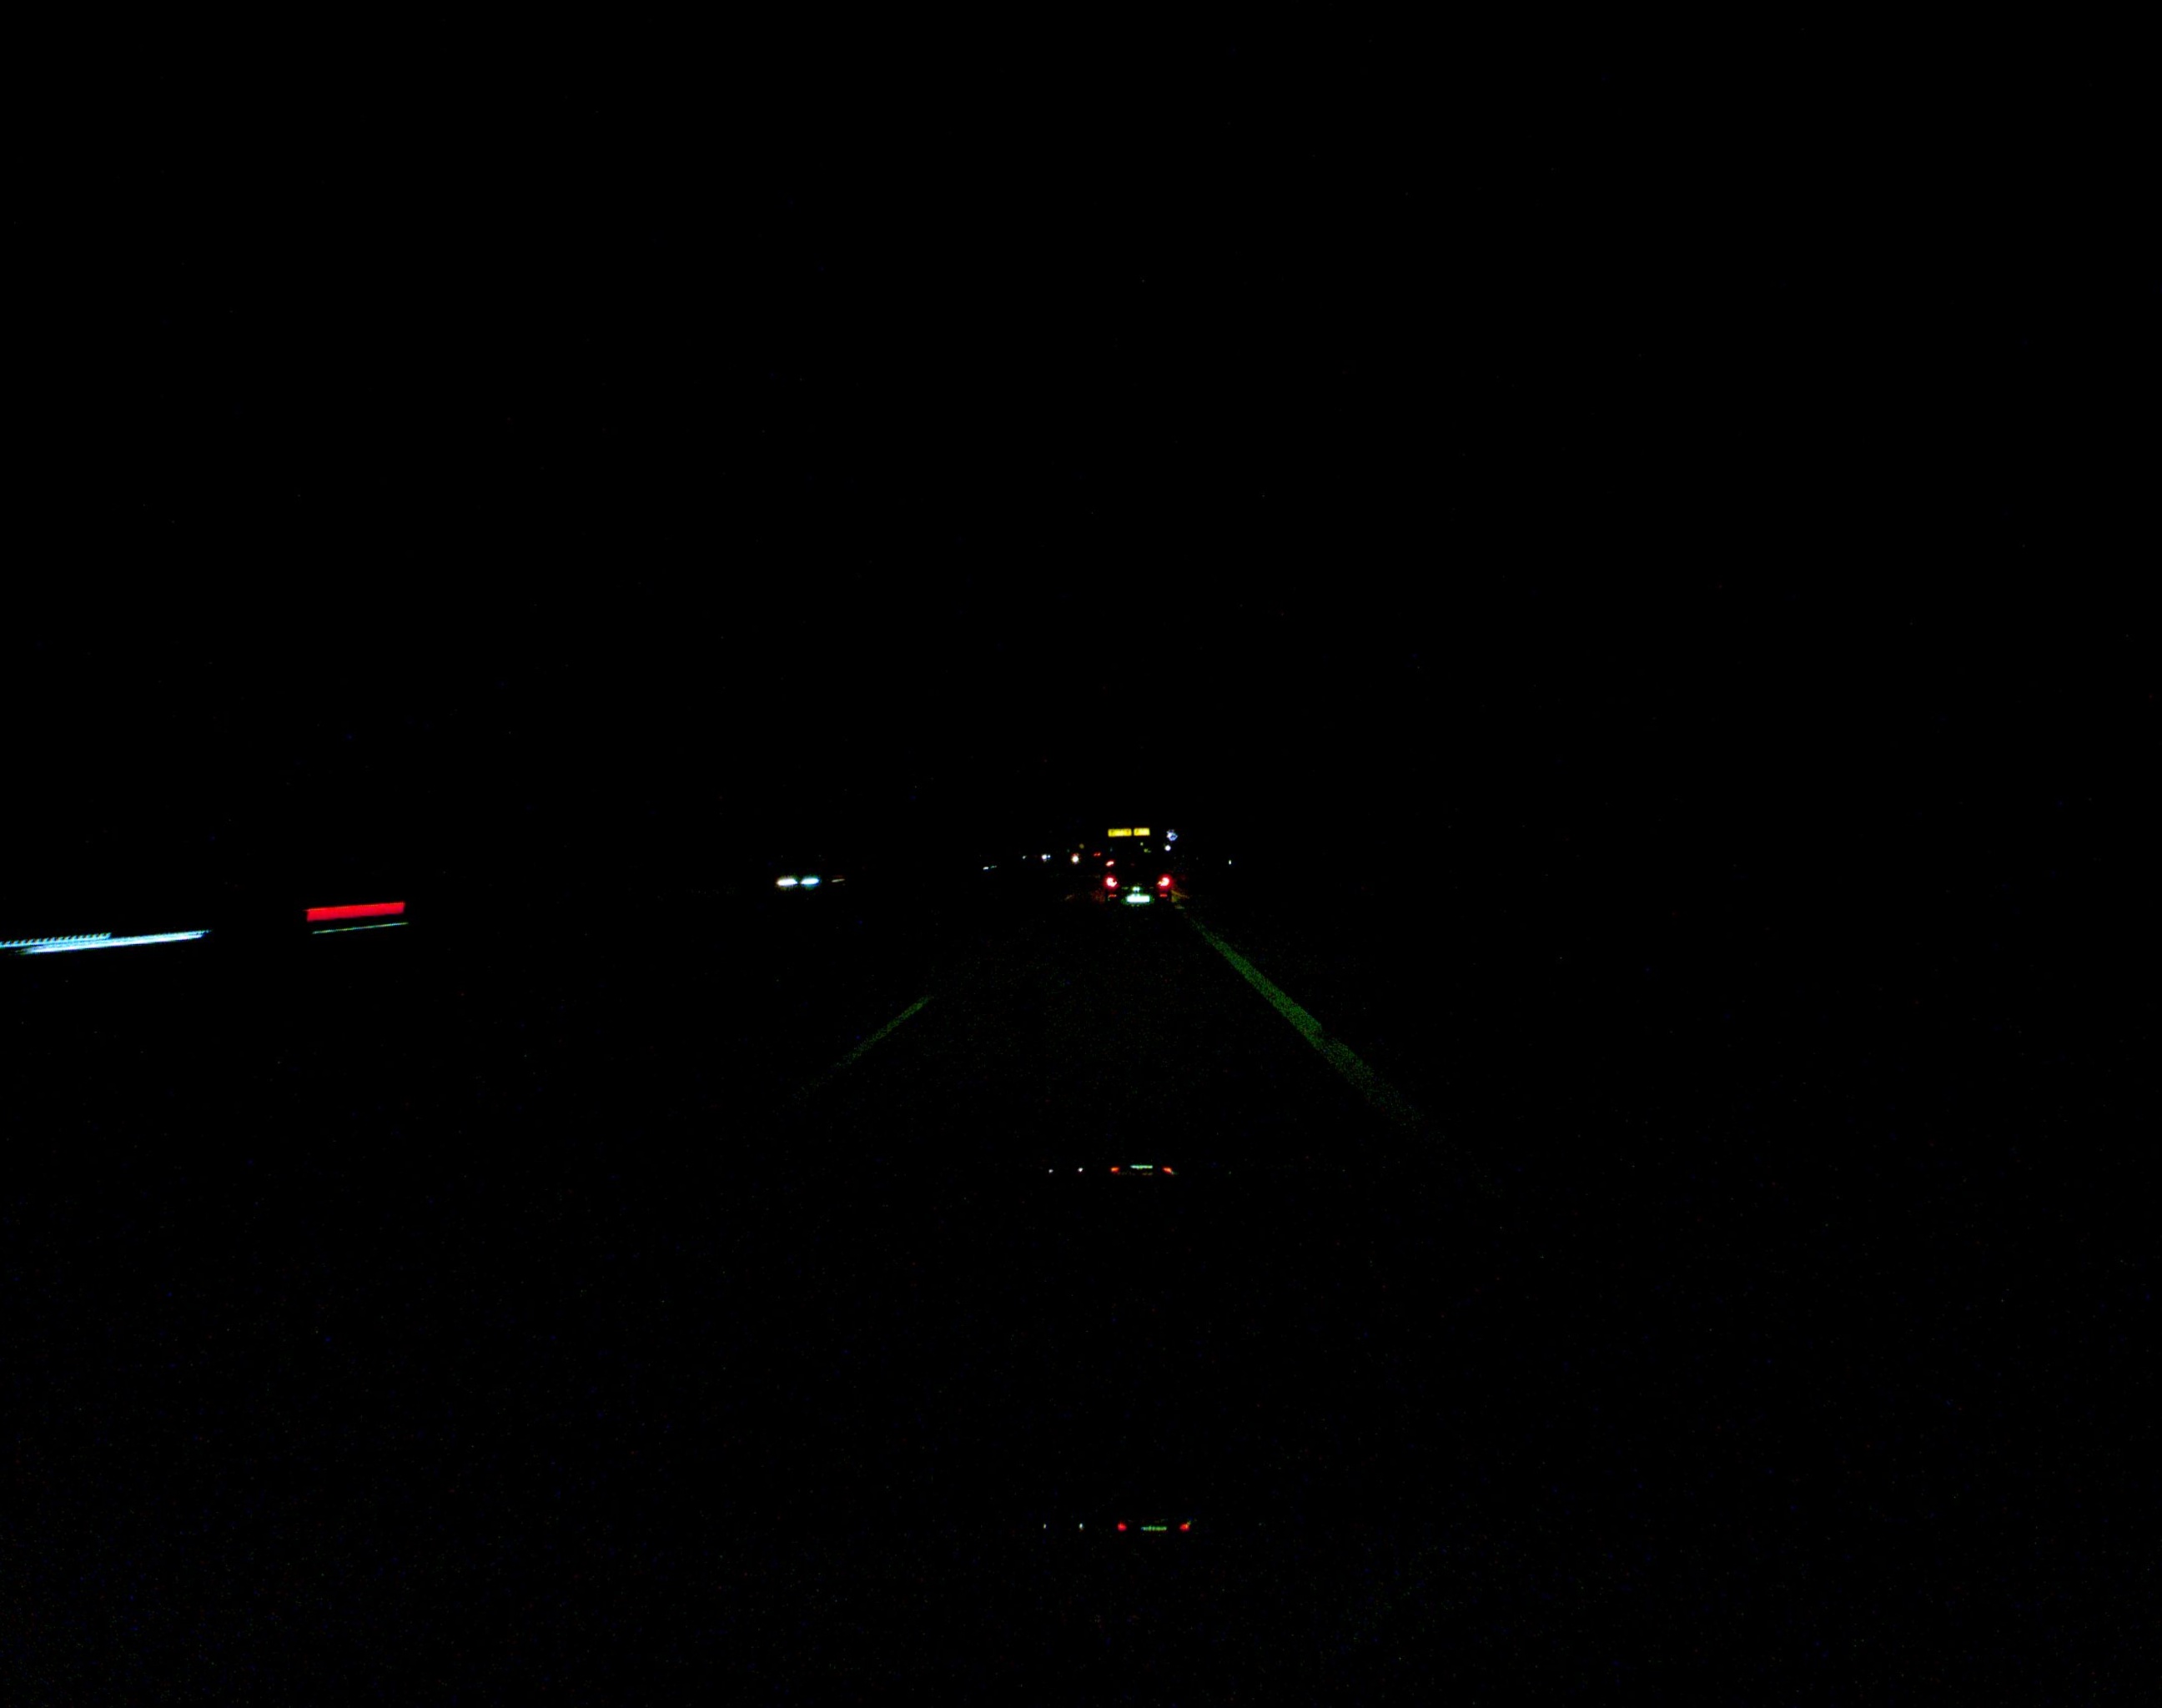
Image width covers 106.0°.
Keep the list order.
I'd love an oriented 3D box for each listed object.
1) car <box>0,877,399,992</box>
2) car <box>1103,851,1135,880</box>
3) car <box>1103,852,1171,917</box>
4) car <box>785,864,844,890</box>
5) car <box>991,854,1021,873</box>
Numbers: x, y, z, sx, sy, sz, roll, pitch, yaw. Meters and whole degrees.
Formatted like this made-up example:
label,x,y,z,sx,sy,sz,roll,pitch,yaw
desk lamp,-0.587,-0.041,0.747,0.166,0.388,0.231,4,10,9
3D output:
label,x,y,z,sx,sy,sz,roll,pitch,yaw
car,-14.870,1.256,14.158,1.948,1.457,4.477,-3,0,5
car,2.401,0.670,50.749,1.898,1.698,4.004,-1,0,3
car,1.398,0.718,21.185,1.582,1.508,4.002,0,0,2
car,-15.935,1.350,48.974,1.764,1.411,4.848,-1,0,3
car,-7.233,0.910,79.405,1.948,1.733,5.086,-3,0,5
